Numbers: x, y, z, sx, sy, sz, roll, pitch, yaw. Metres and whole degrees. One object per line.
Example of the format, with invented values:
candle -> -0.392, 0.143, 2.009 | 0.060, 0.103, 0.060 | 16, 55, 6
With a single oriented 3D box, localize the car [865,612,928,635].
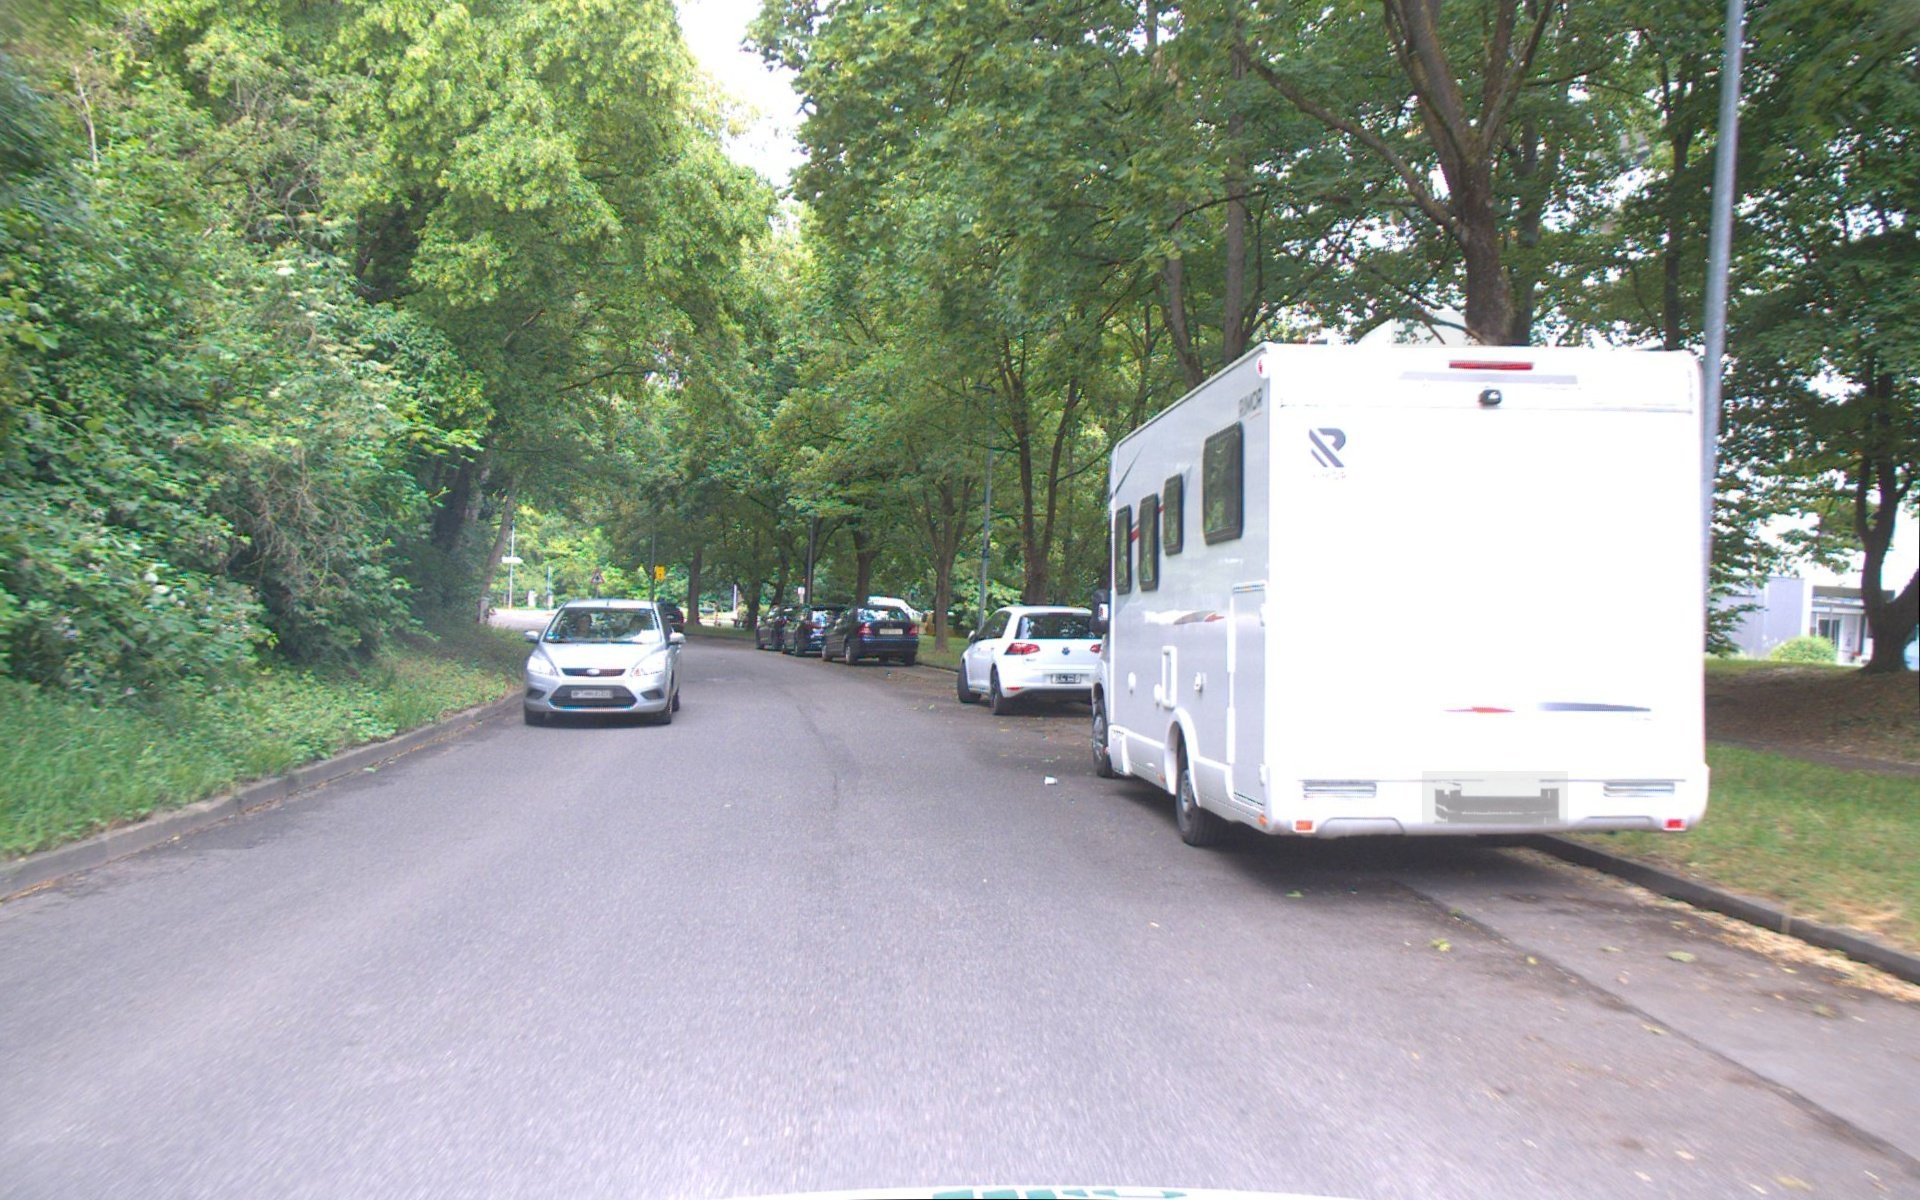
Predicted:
car -> -4.572, 1.670, 118.522 | 4.143, 1.525, 1.790 | 2, 0, -20

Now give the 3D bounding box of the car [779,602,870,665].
car -> -3.884, 0.898, 46.665 | 1.880, 1.640, 4.719 | 1, 0, -13

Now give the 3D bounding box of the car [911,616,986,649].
car -> -0.734, 2.014, 103.816 | 4.325, 1.881, 1.824 | 2, 0, -16

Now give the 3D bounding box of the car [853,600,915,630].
car -> -5.559, 1.081, 121.348 | 4.143, 2.049, 1.989 | 2, 0, -20

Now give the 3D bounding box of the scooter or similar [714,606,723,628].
scooter or similar -> -14.369, 1.015, 98.355 | 0.279, 1.309, 1.100 | 2, -1, -22

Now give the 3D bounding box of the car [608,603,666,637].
car -> -15.660, 0.954, 80.011 | 1.753, 1.549, 3.746 | 2, 0, -28

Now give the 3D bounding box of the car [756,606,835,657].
car -> -5.218, 0.957, 52.153 | 1.656, 1.490, 3.878 | 2, 0, -18

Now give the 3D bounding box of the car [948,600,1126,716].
car -> 1.013, 0.772, 23.877 | 1.658, 1.508, 4.096 | 1, 0, -10

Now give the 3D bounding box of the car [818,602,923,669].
car -> -2.250, 0.830, 40.563 | 1.564, 1.491, 4.296 | 2, 0, -17

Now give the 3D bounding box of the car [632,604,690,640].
car -> -13.677, 0.975, 75.514 | 1.749, 1.549, 4.155 | 2, 0, -22

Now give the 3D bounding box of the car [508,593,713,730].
car -> -4.302, 0.714, 20.938 | 1.758, 1.534, 3.999 | 1, 0, -1

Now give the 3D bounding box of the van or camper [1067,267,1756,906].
van or camper -> 2.446, -0.039, 11.695 | 2.376, 3.032, 7.387 | 1, 0, -4
